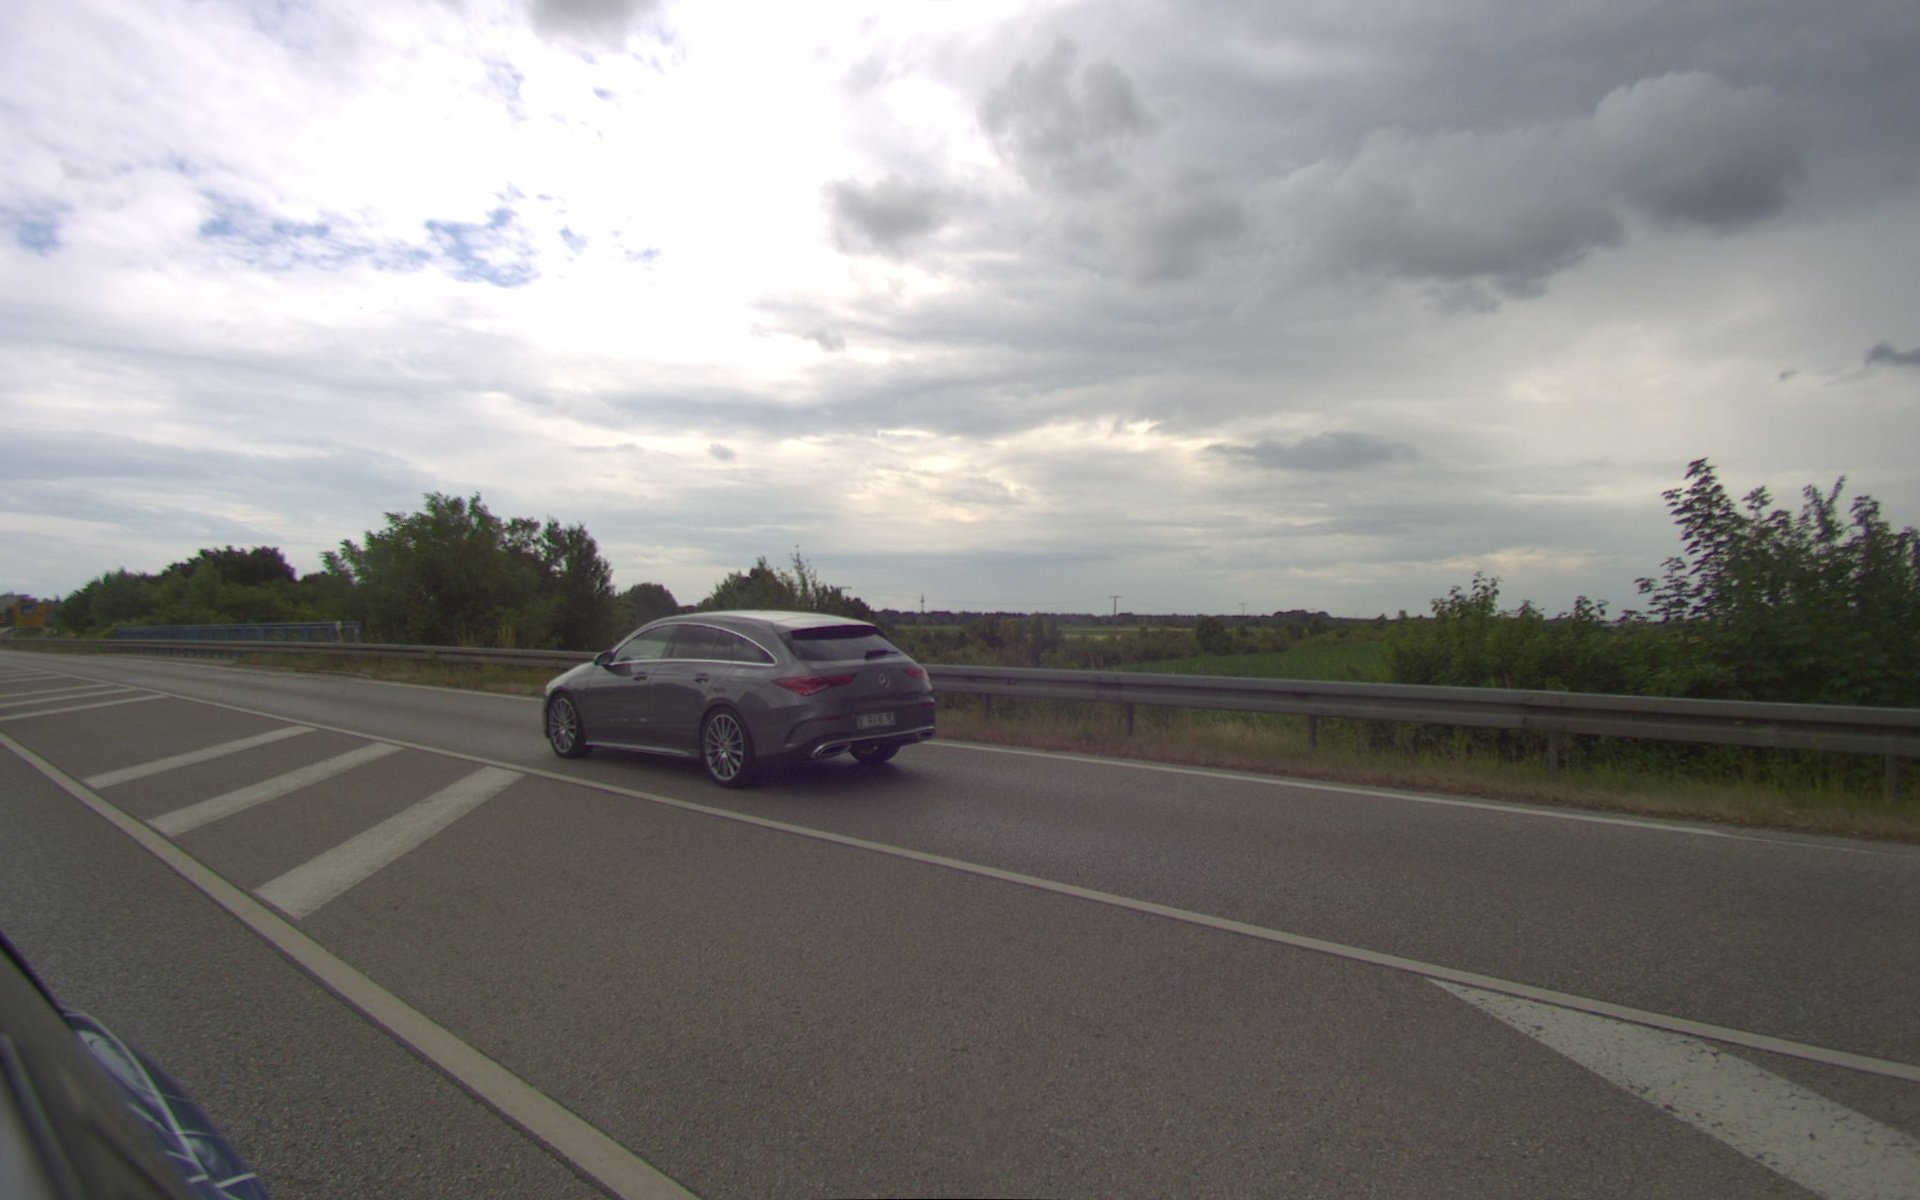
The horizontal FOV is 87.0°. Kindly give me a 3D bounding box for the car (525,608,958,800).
[{"bbox_3d":[-2.226,0.790,9.439,4.510,1.390,1.605,-1,-1,42],"label":"car"}]
